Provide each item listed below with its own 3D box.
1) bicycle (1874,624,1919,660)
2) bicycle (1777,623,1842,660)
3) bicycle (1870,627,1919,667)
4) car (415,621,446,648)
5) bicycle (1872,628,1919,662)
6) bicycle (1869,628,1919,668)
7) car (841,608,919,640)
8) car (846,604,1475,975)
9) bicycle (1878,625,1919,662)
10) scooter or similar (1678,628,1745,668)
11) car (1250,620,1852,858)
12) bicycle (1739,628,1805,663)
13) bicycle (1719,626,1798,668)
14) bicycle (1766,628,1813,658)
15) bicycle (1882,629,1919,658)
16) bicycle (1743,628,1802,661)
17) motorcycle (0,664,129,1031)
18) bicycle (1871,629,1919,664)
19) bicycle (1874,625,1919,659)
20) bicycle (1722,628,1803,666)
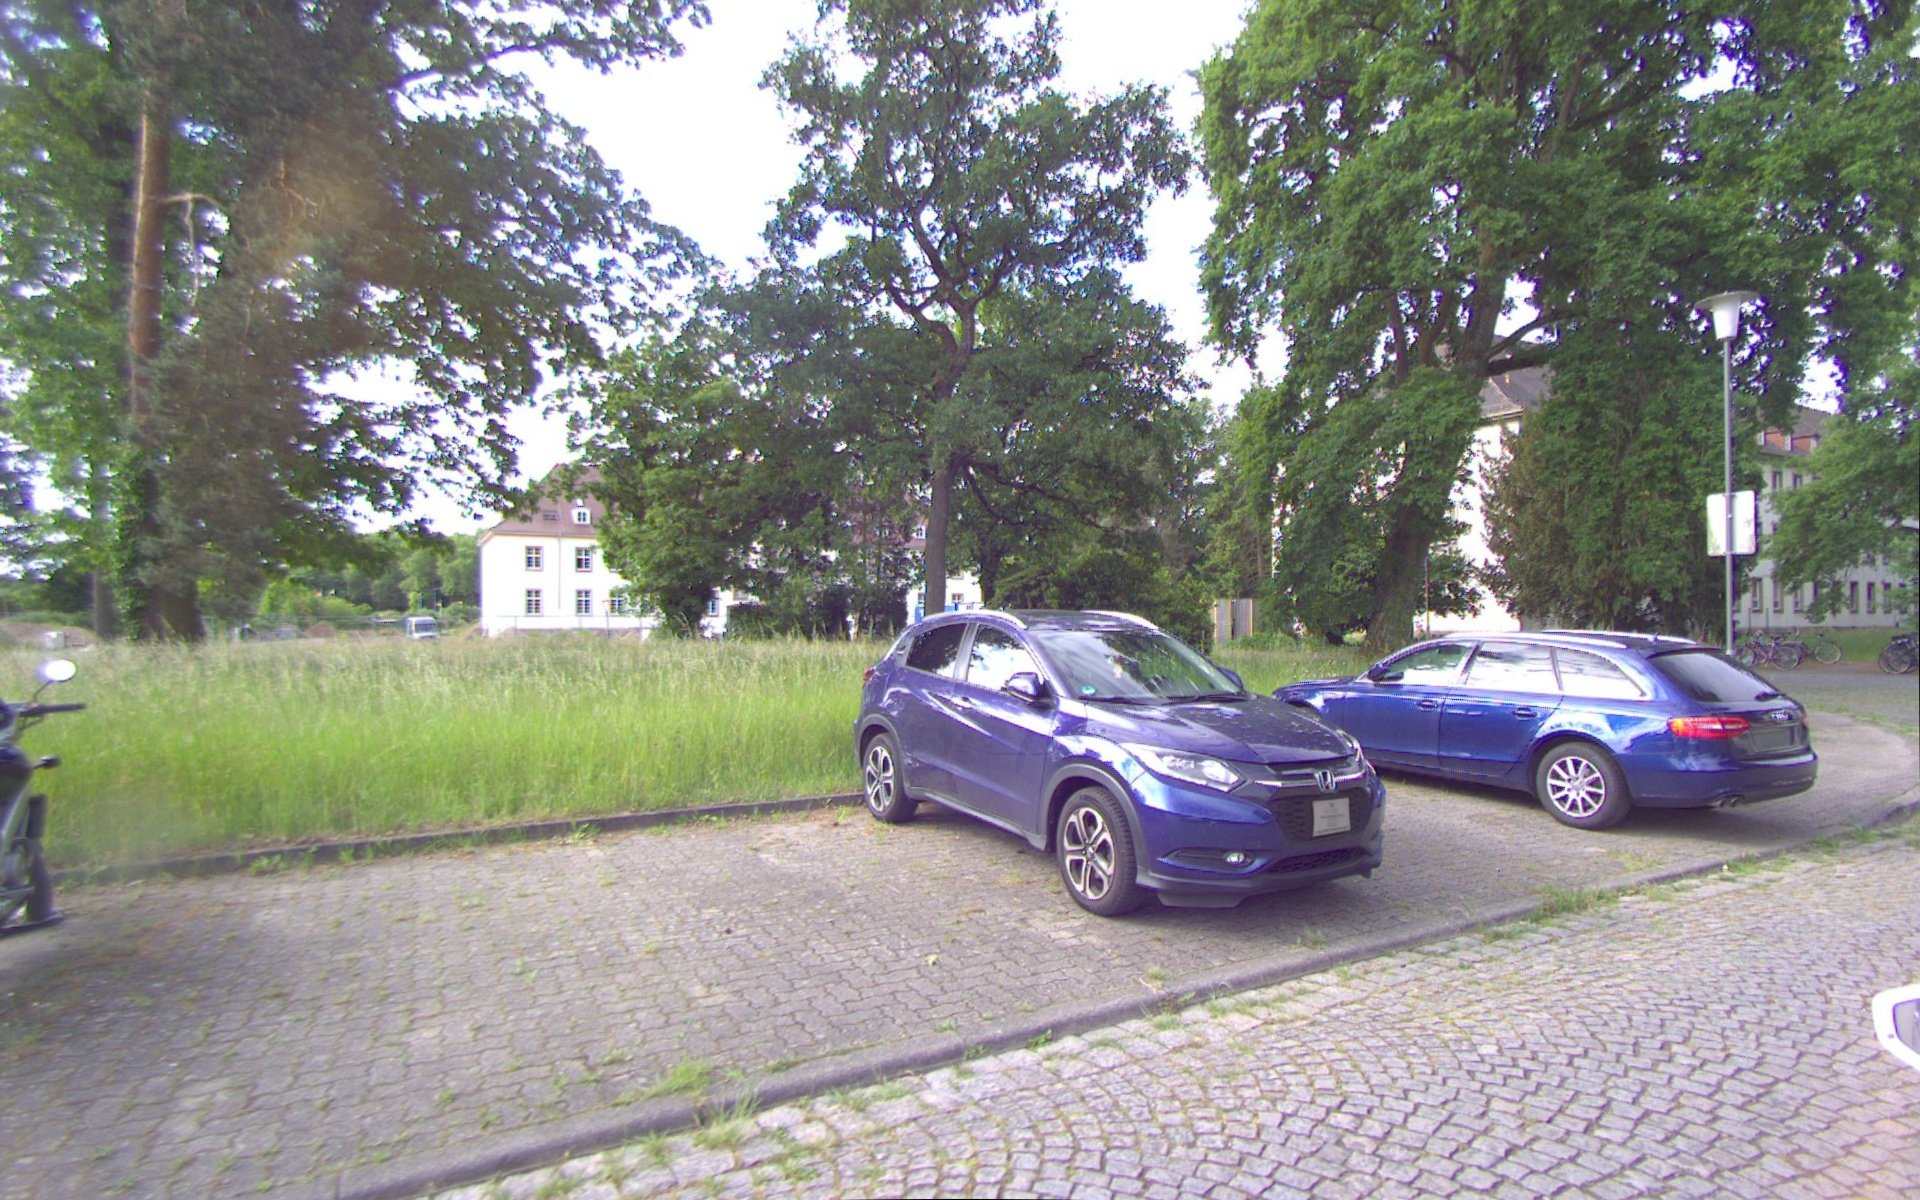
[{"bbox_3d":[30.719,1.367,32.481,1.678,1.131,0.538,-3,0,42],"label":"bicycle"},{"bbox_3d":[28.770,1.396,34.030,1.617,1.201,0.572,-1,1,36],"label":"bicycle"},{"bbox_3d":[28.074,1.377,29.635,1.774,1.118,0.699,-3,0,42],"label":"bicycle"},{"bbox_3d":[-44.154,2.837,83.680,2.016,2.041,4.192,1,1,-32],"label":"car"},{"bbox_3d":[29.204,1.369,30.693,1.932,1.018,0.682,-3,0,42],"label":"bicycle"},{"bbox_3d":[27.559,1.393,29.130,1.748,1.118,0.699,-3,0,42],"label":"bicycle"},{"bbox_3d":[-5.993,1.810,75.654,5.466,2.237,2.109,1,1,-30],"label":"car"},{"bbox_3d":[0.902,0.859,6.570,1.769,1.594,4.118,1,-1,-30],"label":"car"},{"bbox_3d":[30.442,1.381,31.988,1.751,1.120,0.538,-3,0,42],"label":"bicycle"},{"bbox_3d":[23.862,1.505,31.932,0.673,1.211,1.543,-1,-1,-25],"label":"scooter or similar"},{"bbox_3d":[4.780,0.952,8.912,1.661,1.499,4.414,0,0,-28],"label":"car"},{"bbox_3d":[26.586,1.487,32.923,1.601,1.088,0.538,-1,1,31],"label":"bicycle"},{"bbox_3d":[24.903,1.453,31.342,1.874,1.239,0.640,-1,1,42],"label":"bicycle"},{"bbox_3d":[29.466,1.533,35.708,1.245,1.042,0.431,-3,-5,42],"label":"bicycle"},{"bbox_3d":[31.551,1.434,33.177,1.598,0.923,0.524,-3,0,42],"label":"bicycle"},{"bbox_3d":[27.518,1.507,34.049,1.490,1.049,0.544,-1,1,31],"label":"bicycle"},{"bbox_3d":[-4.319,0.987,4.295,0.734,1.305,2.345,0,-1,-29],"label":"motorcycle"},{"bbox_3d":[28.540,1.401,30.190,1.672,1.015,0.629,-3,0,42],"label":"bicycle"},{"bbox_3d":[31.057,1.385,32.903,1.598,1.073,0.524,-3,0,42],"label":"bicycle"},{"bbox_3d":[25.392,1.484,31.810,1.963,1.129,0.640,-1,1,42],"label":"bicycle"}]
